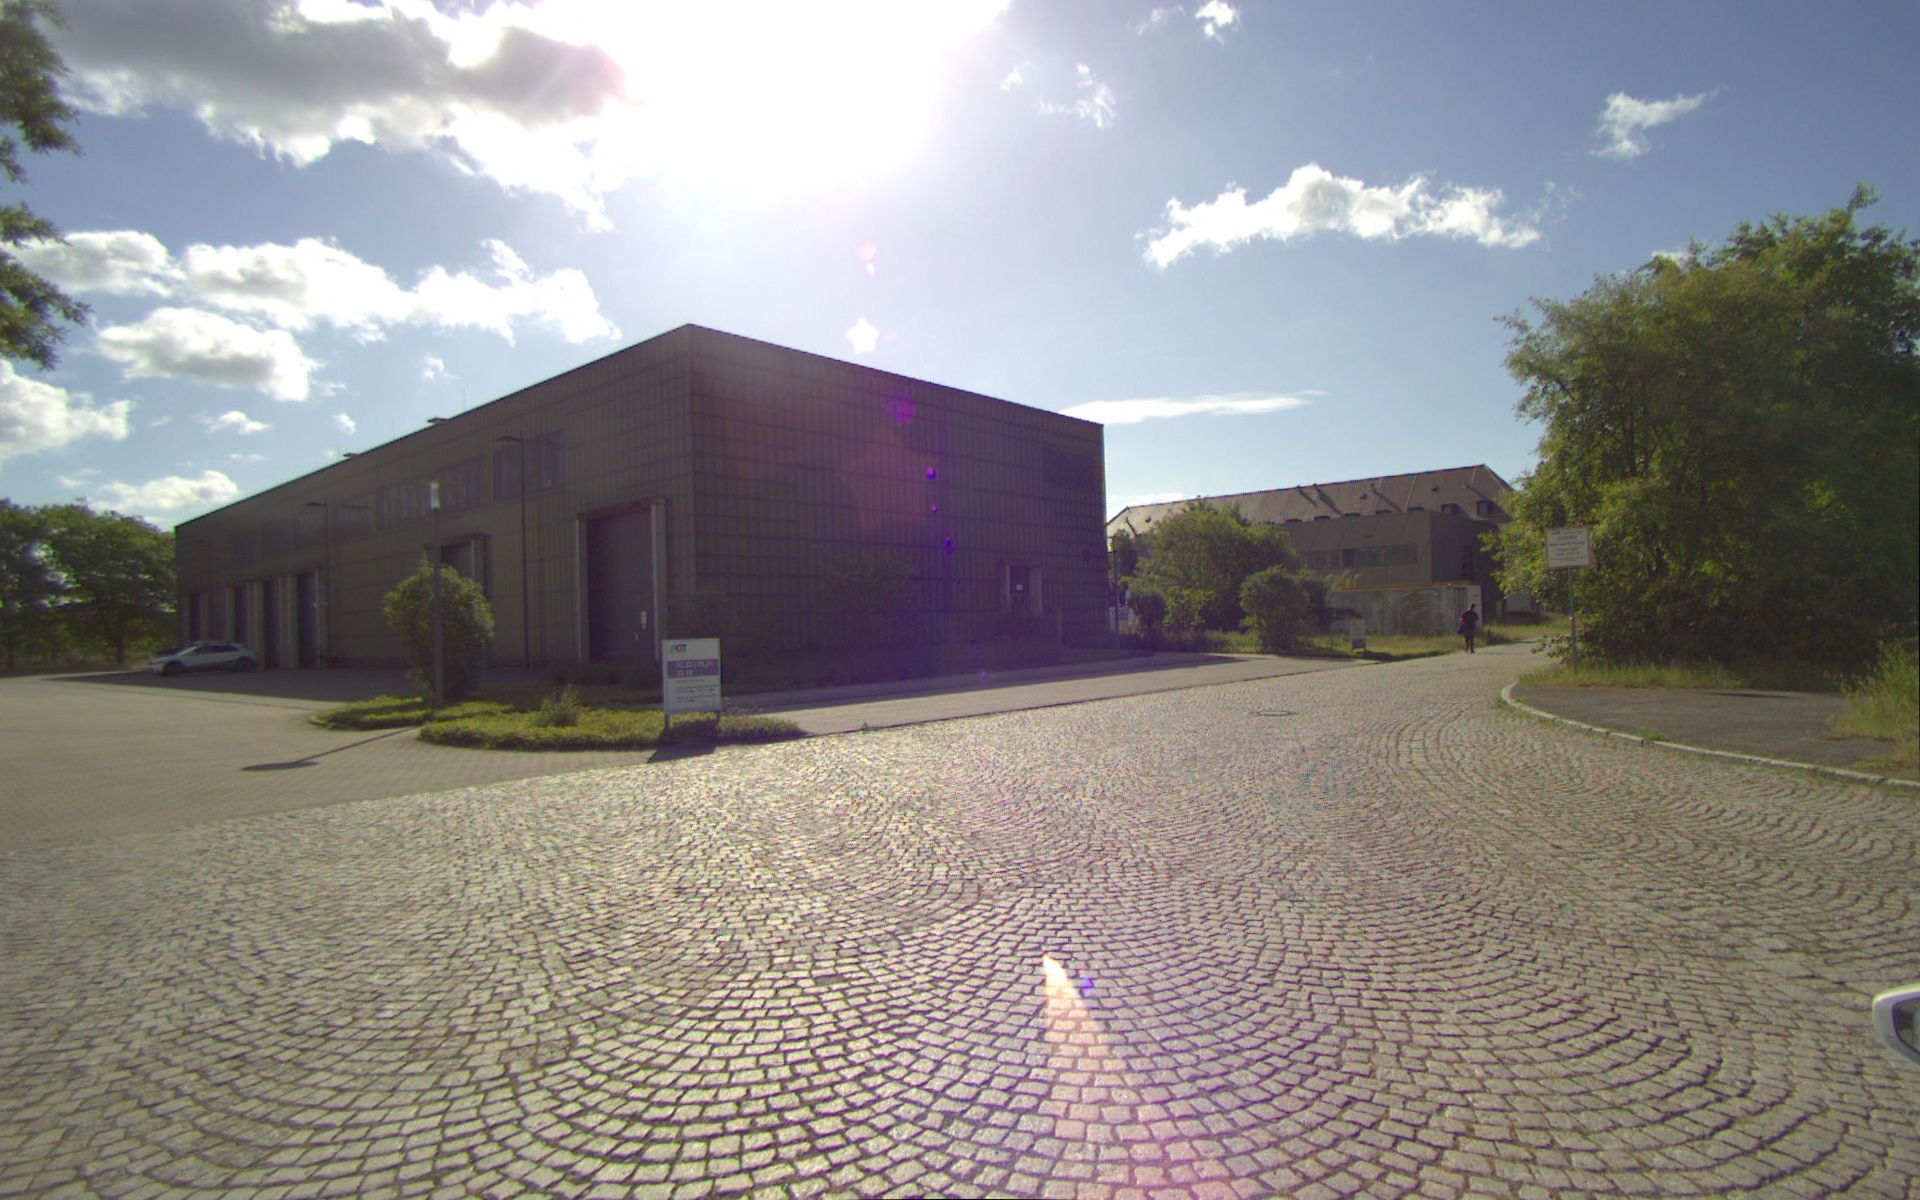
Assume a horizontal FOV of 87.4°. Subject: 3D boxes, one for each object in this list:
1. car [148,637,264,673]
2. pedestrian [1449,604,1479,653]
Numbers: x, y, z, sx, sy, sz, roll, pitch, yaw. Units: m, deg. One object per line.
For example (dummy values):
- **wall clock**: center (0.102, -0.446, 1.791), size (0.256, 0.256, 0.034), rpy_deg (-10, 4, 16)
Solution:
- **car**: center (-39.427, 2.856, 52.627), size (1.970, 1.685, 4.557), rpy_deg (-3, -1, 40)
- **pedestrian**: center (18.965, 1.051, 37.773), size (0.785, 1.804, 1.063), rpy_deg (-1, 0, 39)
